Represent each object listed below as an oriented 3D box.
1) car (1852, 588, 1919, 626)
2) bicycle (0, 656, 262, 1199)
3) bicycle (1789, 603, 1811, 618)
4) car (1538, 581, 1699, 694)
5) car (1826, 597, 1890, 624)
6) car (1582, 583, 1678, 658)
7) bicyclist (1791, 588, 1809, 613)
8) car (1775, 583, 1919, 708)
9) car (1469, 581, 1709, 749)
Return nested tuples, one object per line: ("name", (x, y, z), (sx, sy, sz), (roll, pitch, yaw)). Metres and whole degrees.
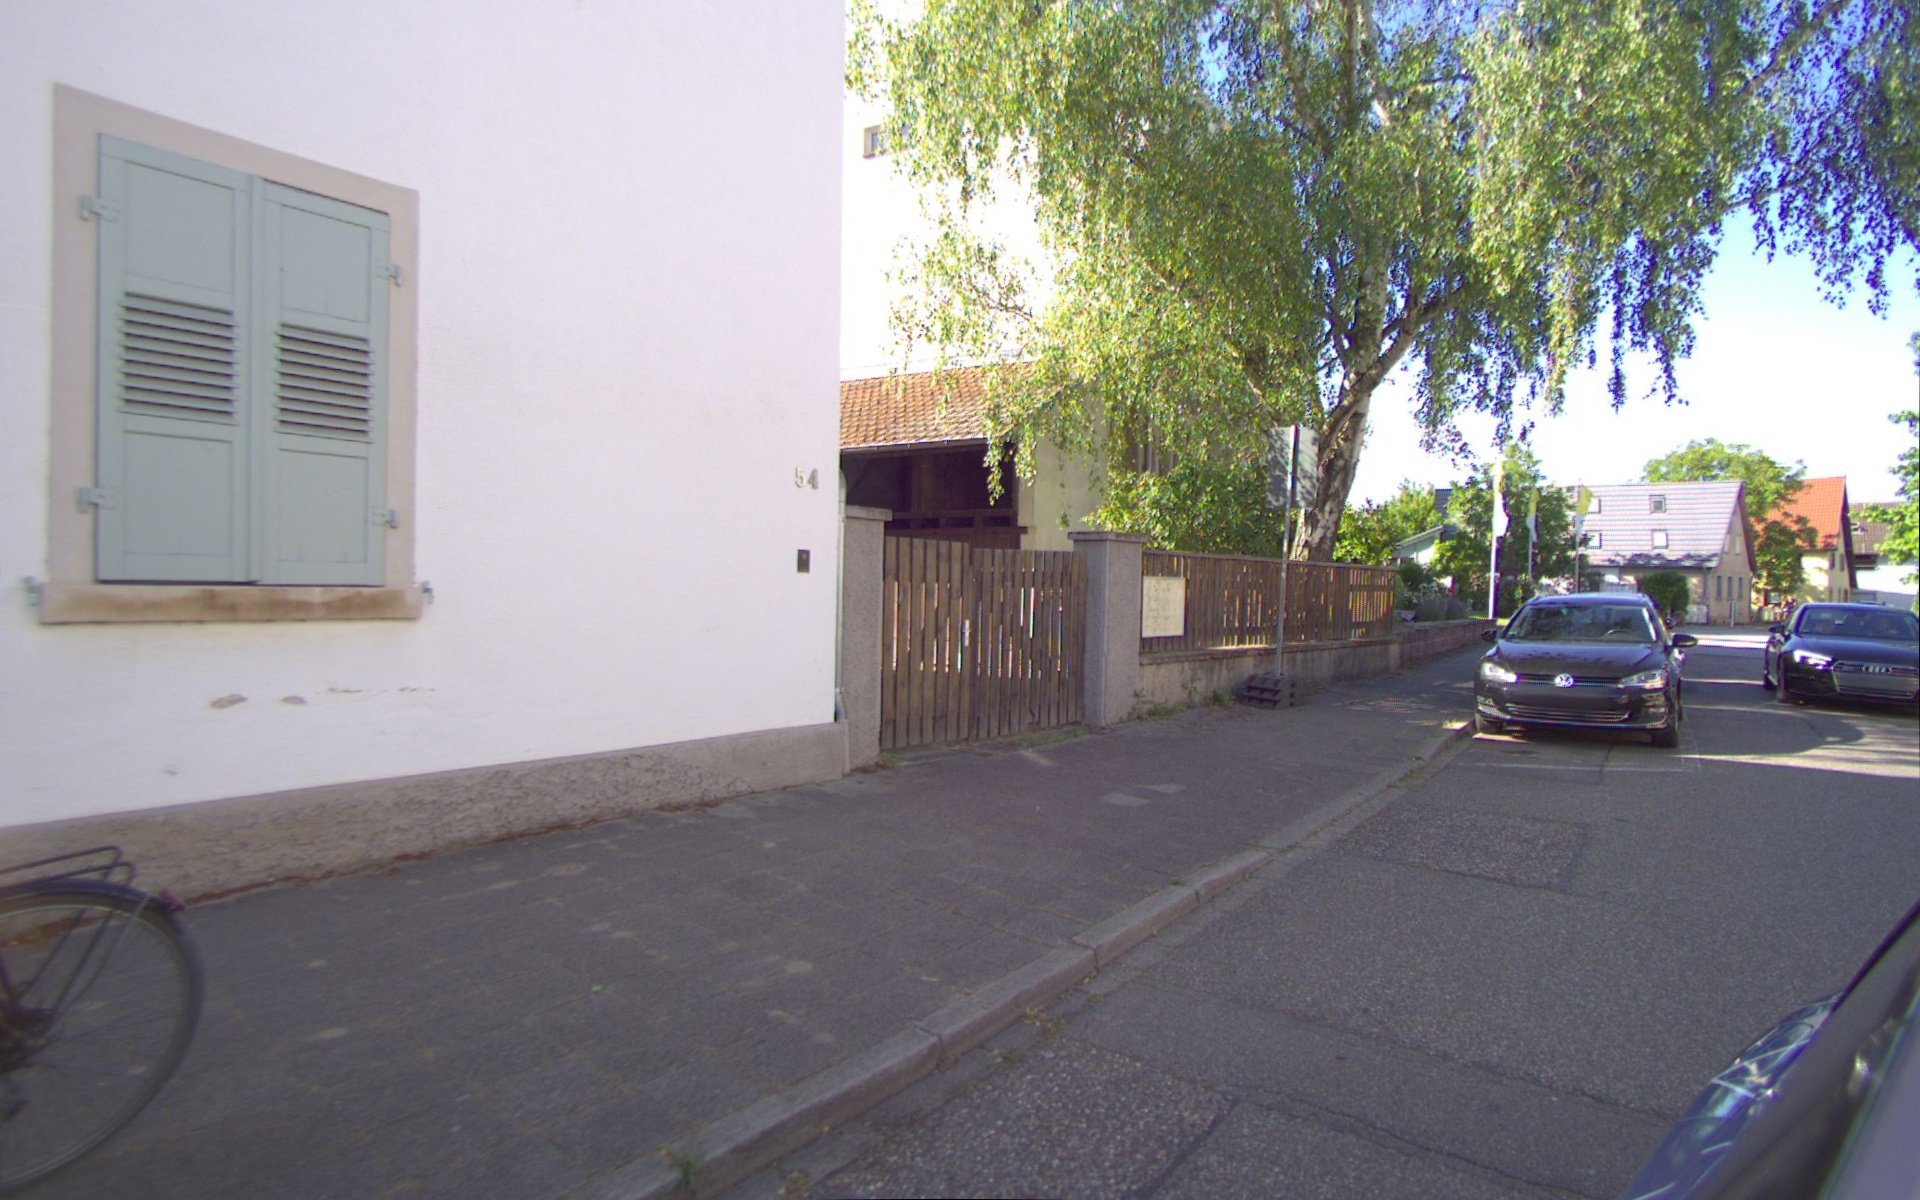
("car", (44.278, 0.300, 48.242), (4.273, 1.692, 1.837), (0, 1, -38))
("bicycle", (-2.341, 0.713, 1.727), (0.433, 1.093, 1.868), (2, 2, 33))
("bicycle", (45.427, 0.583, 54.731), (1.767, 0.771, 0.582), (1, 3, -40))
("car", (10.030, 0.480, 15.431), (1.801, 1.454, 4.233), (1, 1, 34))
("car", (48.036, 0.563, 54.122), (3.817, 1.420, 1.677), (1, 0, -34))
("car", (14.910, 0.411, 22.550), (1.642, 1.497, 3.885), (1, 1, 34))
("bicyclist", (45.436, 0.019, 54.736), (0.597, 1.336, 0.582), (1, 2, -39))
("car", (12.728, 0.554, 14.198), (1.799, 1.496, 4.286), (3, 2, 37))
("car", (7.033, 0.563, 11.105), (1.804, 1.454, 4.226), (1, 1, 38))
